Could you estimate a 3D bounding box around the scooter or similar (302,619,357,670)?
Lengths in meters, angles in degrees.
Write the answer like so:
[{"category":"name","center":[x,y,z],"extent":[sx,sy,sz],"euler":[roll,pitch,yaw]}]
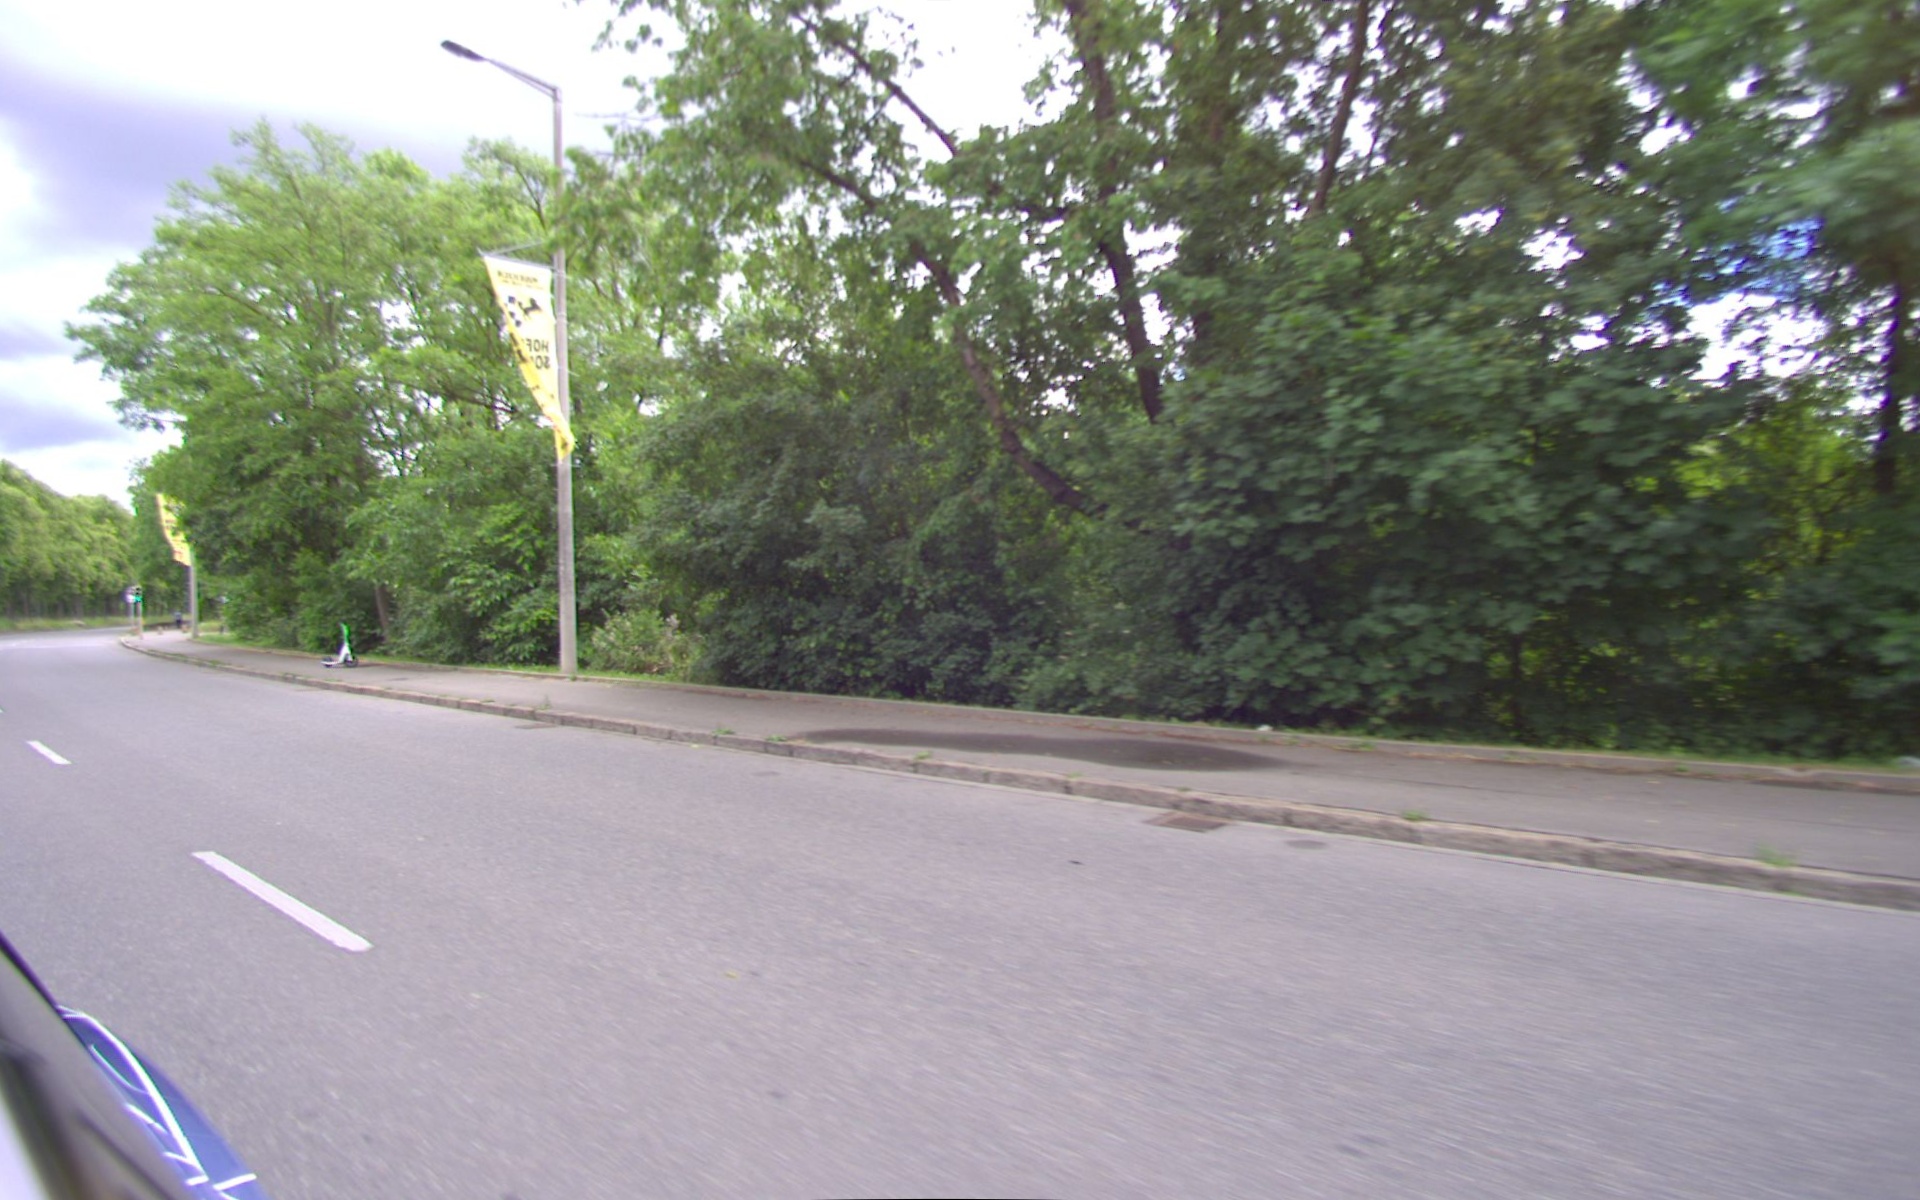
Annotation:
[{"category":"scooter or similar","center":[-15.307,1.078,24.575],"extent":[1.287,1.193,0.363],"euler":[-2,1,19]}]
